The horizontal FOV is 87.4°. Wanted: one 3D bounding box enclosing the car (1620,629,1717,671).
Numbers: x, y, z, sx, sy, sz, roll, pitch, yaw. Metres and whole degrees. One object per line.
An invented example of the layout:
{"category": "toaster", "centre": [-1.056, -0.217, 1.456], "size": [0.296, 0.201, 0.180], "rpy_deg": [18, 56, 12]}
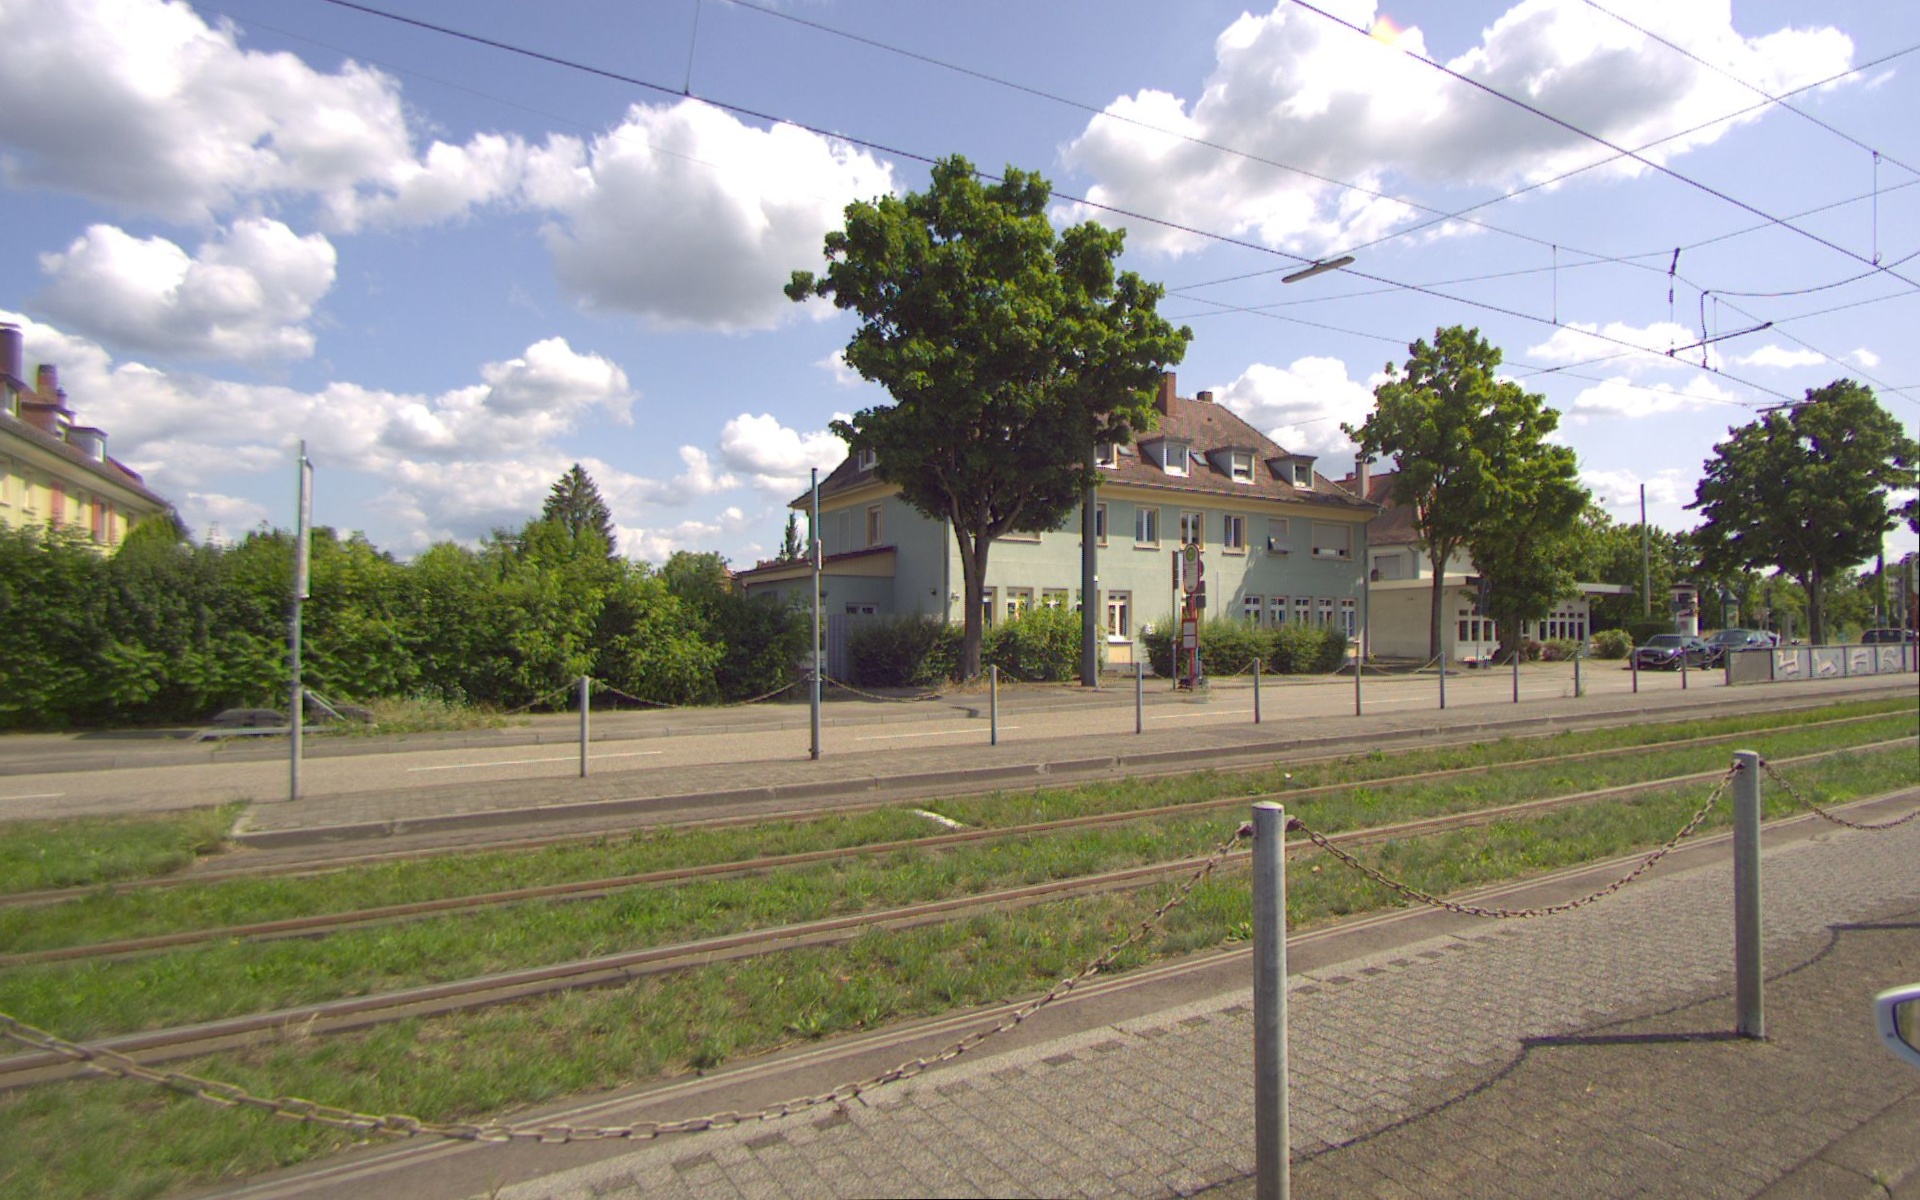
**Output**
{"category": "car", "centre": [28.710, 2.006, 40.669], "size": [3.884, 1.605, 1.778], "rpy_deg": [1, -2, -31]}

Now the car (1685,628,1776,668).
{"category": "car", "centre": [33.852, 2.068, 44.080], "size": [4.710, 1.635, 2.045], "rpy_deg": [1, -2, -38]}
